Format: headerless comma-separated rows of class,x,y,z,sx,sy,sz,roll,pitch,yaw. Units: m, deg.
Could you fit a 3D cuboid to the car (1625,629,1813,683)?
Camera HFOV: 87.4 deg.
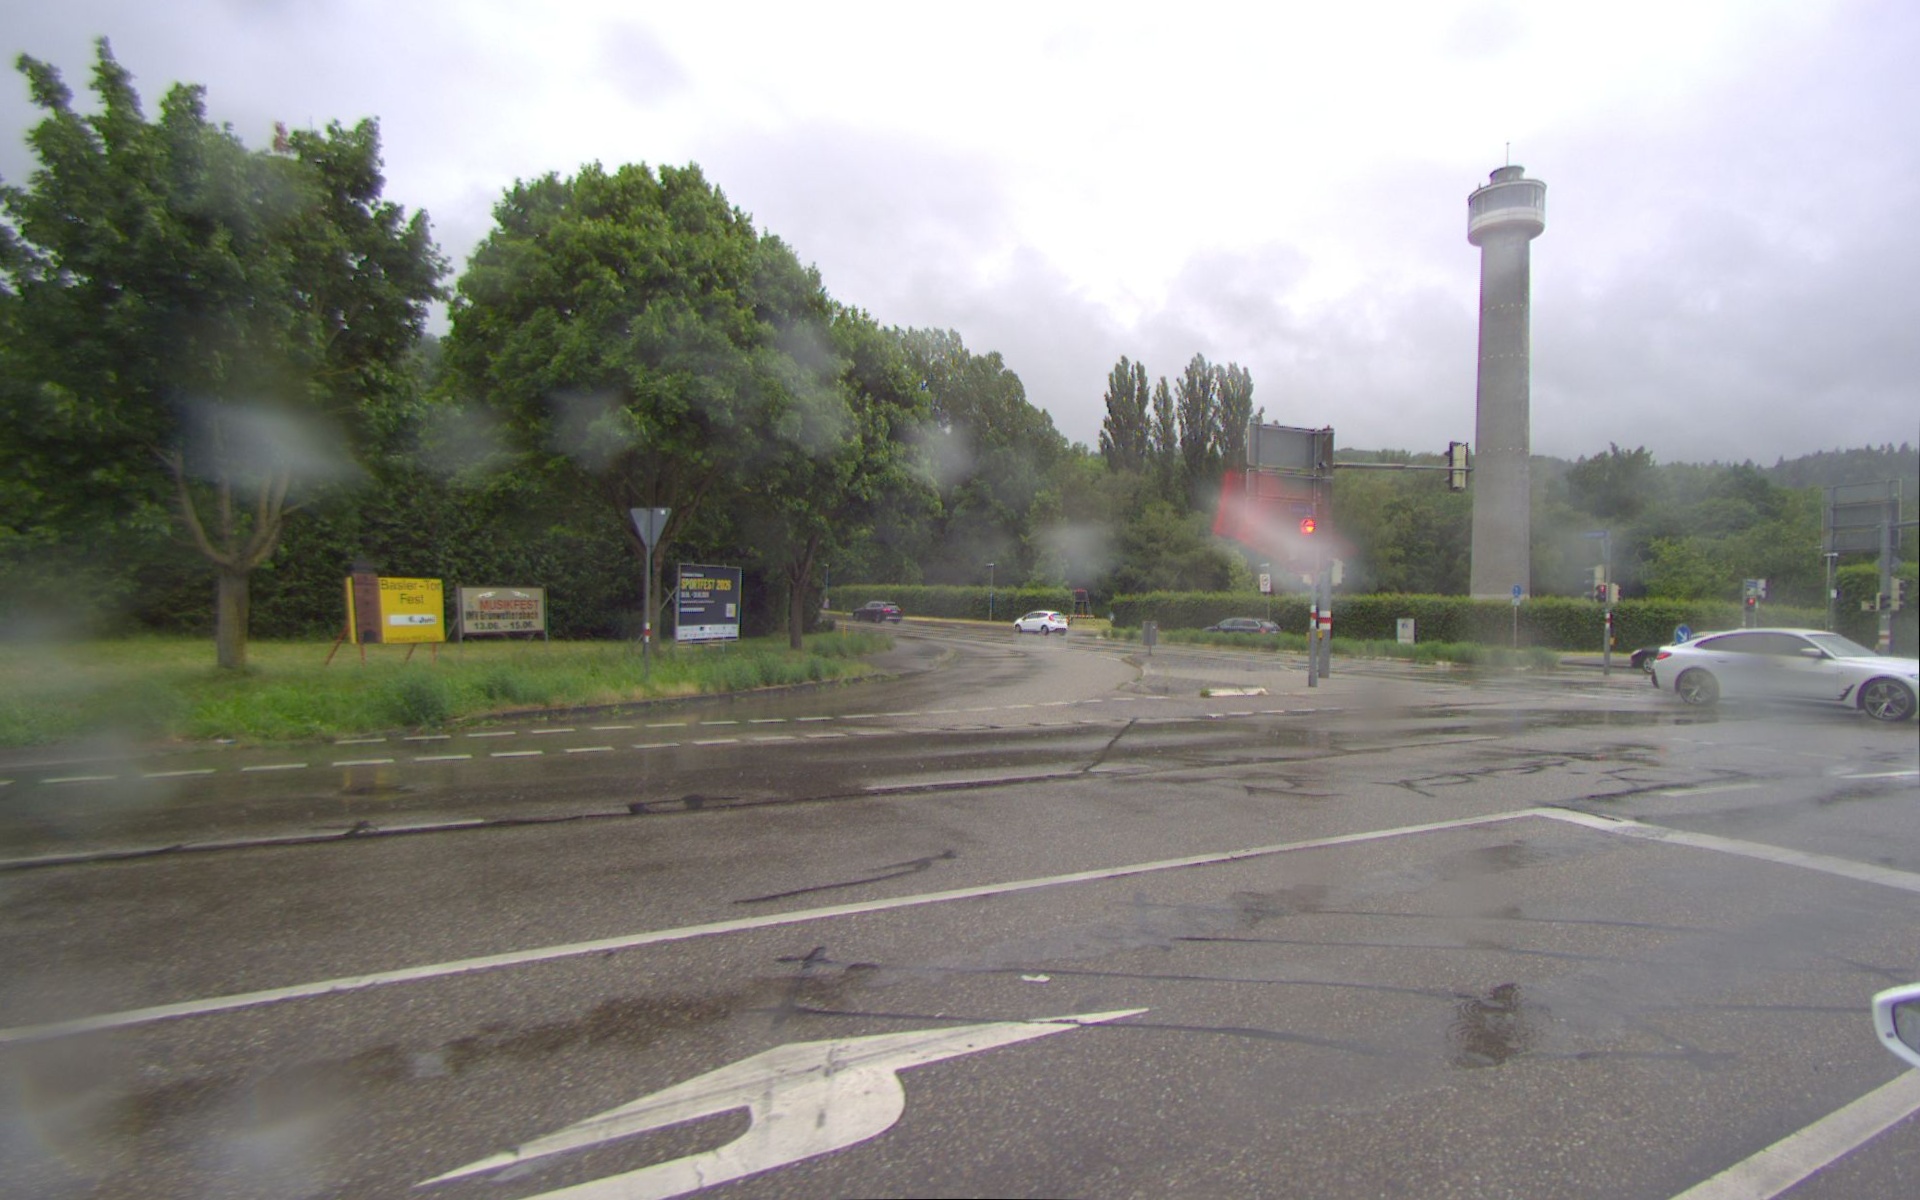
car,24.710,1.770,32.910,1.799,1.574,4.654,1,-1,-26

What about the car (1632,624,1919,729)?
car,14.897,1.241,17.766,1.773,1.574,4.871,1,-1,-22

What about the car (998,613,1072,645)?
car,4.692,1.800,63.345,1.900,1.941,4.629,1,-1,-41

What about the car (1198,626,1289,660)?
car,14.325,2.159,51.077,1.799,1.574,4.652,1,-1,-27

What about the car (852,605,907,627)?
car,-6.170,1.209,76.507,1.808,1.661,4.630,1,-1,-40
